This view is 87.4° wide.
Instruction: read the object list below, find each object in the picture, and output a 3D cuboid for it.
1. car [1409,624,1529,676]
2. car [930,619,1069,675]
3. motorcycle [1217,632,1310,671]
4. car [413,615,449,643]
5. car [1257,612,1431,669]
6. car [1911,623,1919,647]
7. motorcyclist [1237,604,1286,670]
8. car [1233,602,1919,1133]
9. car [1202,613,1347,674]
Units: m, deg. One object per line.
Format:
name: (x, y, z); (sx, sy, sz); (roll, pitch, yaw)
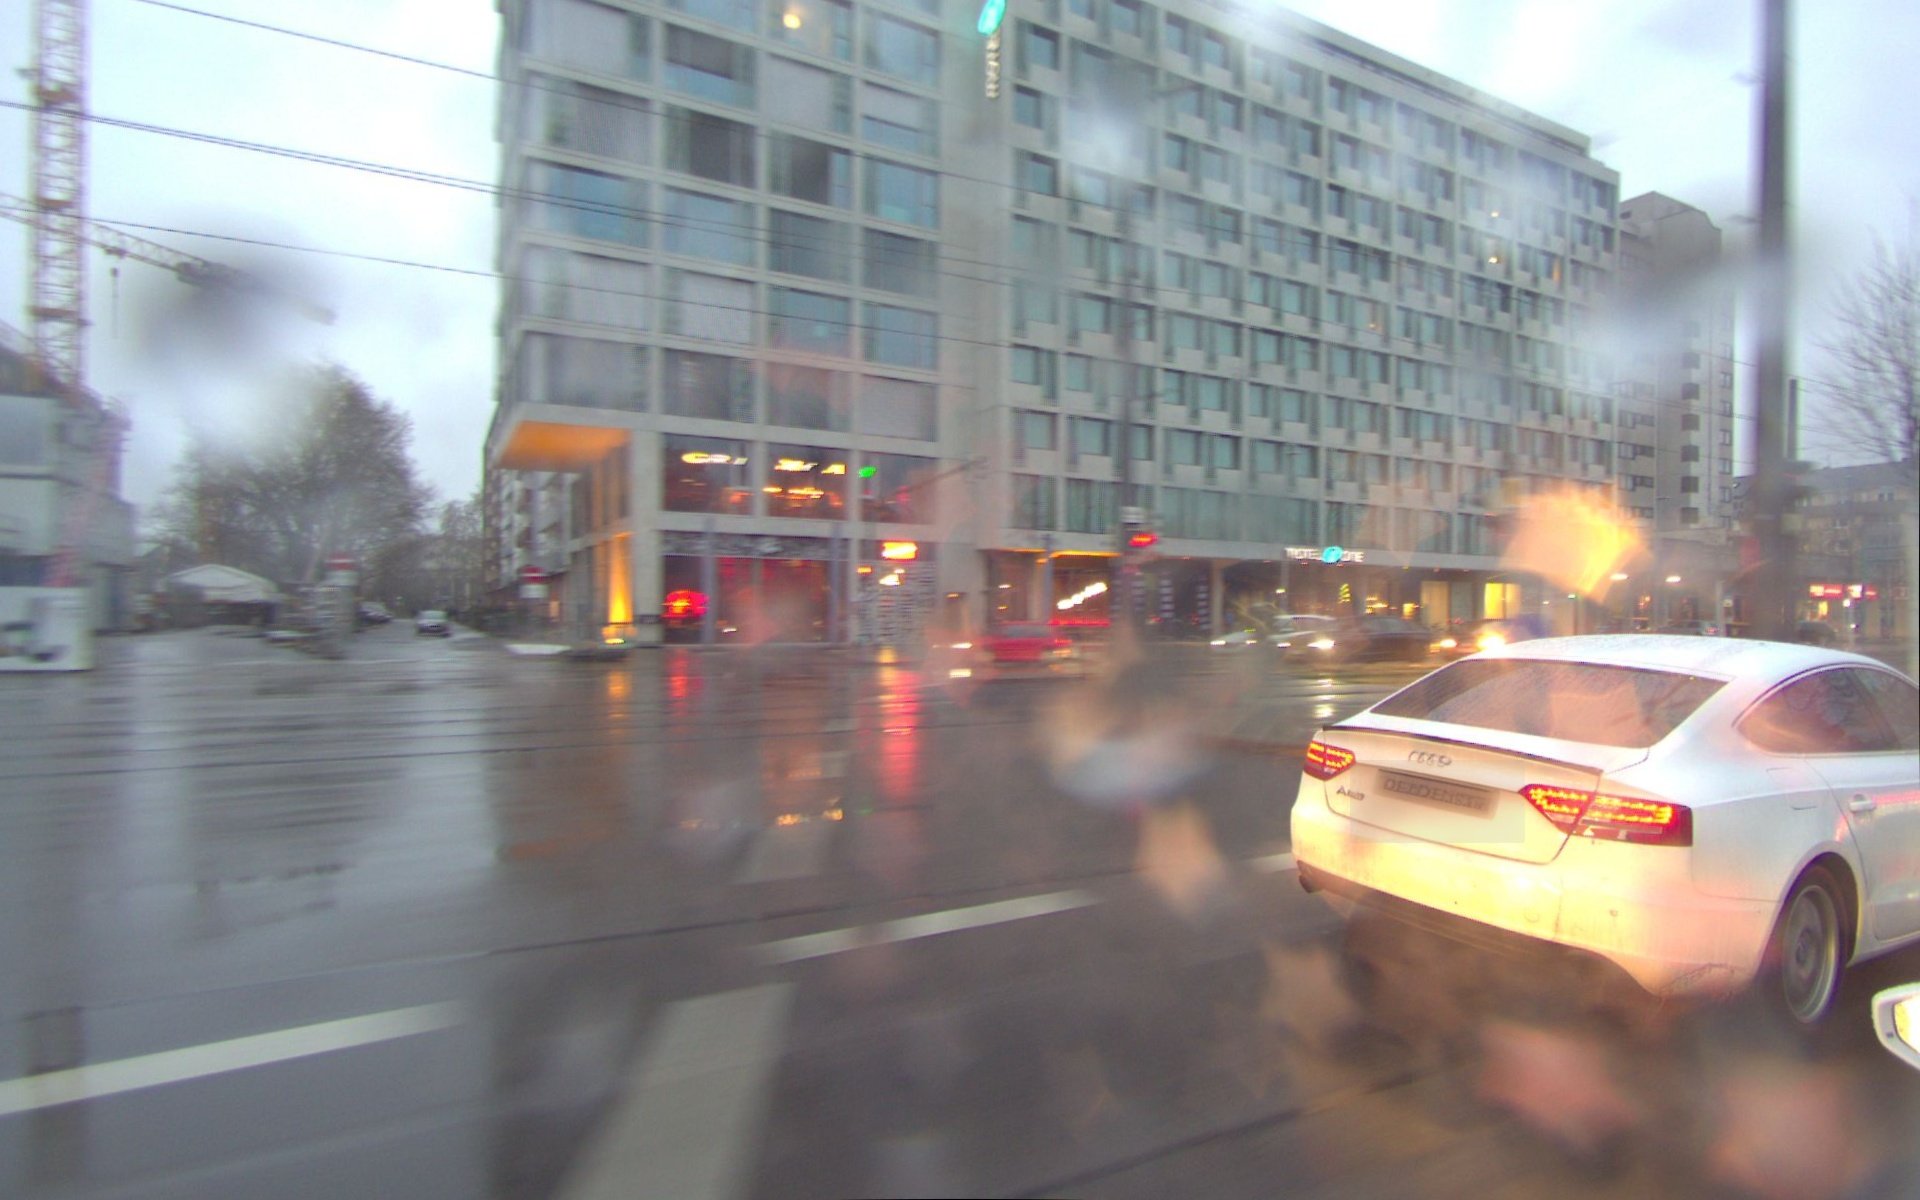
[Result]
car: (16.766, 1.588, 32.954); (5.060, 1.481, 1.974); (1, 1, -44)
car: (1.250, 1.446, 31.599); (3.947, 1.595, 1.875); (1, 1, -26)
motorcycle: (8.999, 1.517, 29.737); (2.931, 1.071, 0.867); (1, 1, -30)
car: (-32.081, 1.723, 61.024); (1.863, 1.595, 3.972); (1, 0, -27)
car: (11.149, 1.146, 29.088); (5.034, 1.481, 1.984); (1, 1, -30)
car: (82.978, 2.961, 83.848); (4.788, 2.040, 2.000); (0, 0, 20)
motorcyclist: (8.904, 1.083, 29.683); (1.021, 1.911, 0.867); (1, 1, -30)
car: (3.453, 0.808, 4.712); (4.202, 1.489, 1.751); (1, 1, -31)
car: (10.186, 1.367, 32.447); (4.544, 1.813, 1.872); (1, 1, -30)
